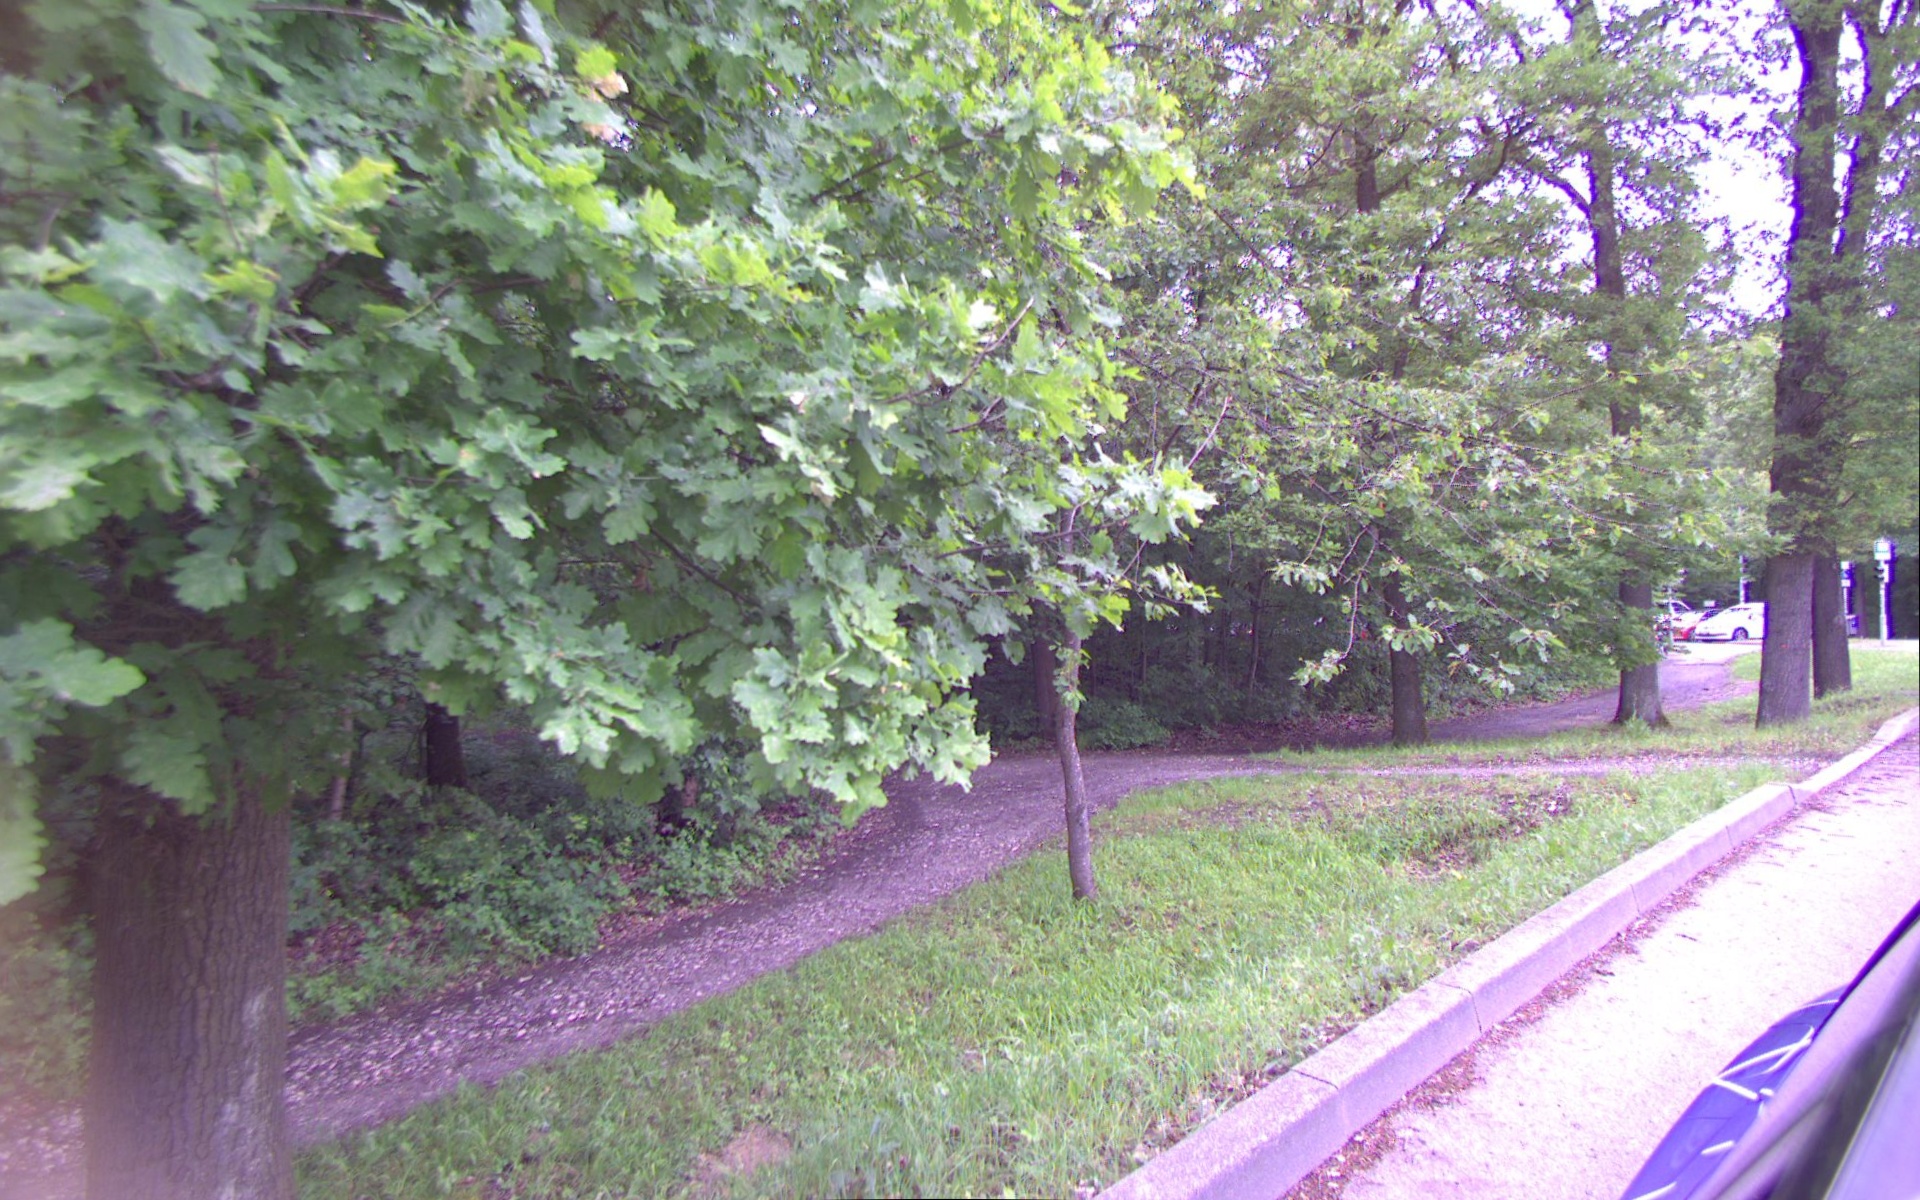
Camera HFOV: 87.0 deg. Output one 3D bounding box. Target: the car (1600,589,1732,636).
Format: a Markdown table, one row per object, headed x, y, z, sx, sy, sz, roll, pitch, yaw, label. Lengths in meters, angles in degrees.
| x | y | z | sx | sy | sz | roll | pitch | yaw | label |
| --- | --- | --- | --- | --- | --- | --- | --- | --- | --- |
| 33.529 | 0.617 | 48.116 | 5.077 | 1.982 | 2.065 | -2 | -2 | -10 | car |

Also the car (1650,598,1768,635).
| x | y | z | sx | sy | sz | roll | pitch | yaw | label |
| --- | --- | --- | --- | --- | --- | --- | --- | --- | --- |
| 33.606 | 0.755 | 45.475 | 3.920 | 1.572 | 1.896 | -1 | -2 | -6 | car |

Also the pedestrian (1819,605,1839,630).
| x | y | z | sx | sy | sz | roll | pitch | yaw | label |
| --- | --- | --- | --- | --- | --- | --- | --- | --- | --- |
| 58.309 | 1.177 | 67.901 | 1.018 | 1.672 | 0.831 | 1 | -3 | -43 | pedestrian |

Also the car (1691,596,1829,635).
| x | y | z | sx | sy | sz | roll | pitch | yaw | label |
| --- | --- | --- | --- | --- | --- | --- | --- | --- | --- |
| 33.985 | 0.684 | 43.059 | 4.332 | 1.572 | 2.001 | -1 | -2 | -6 | car |
